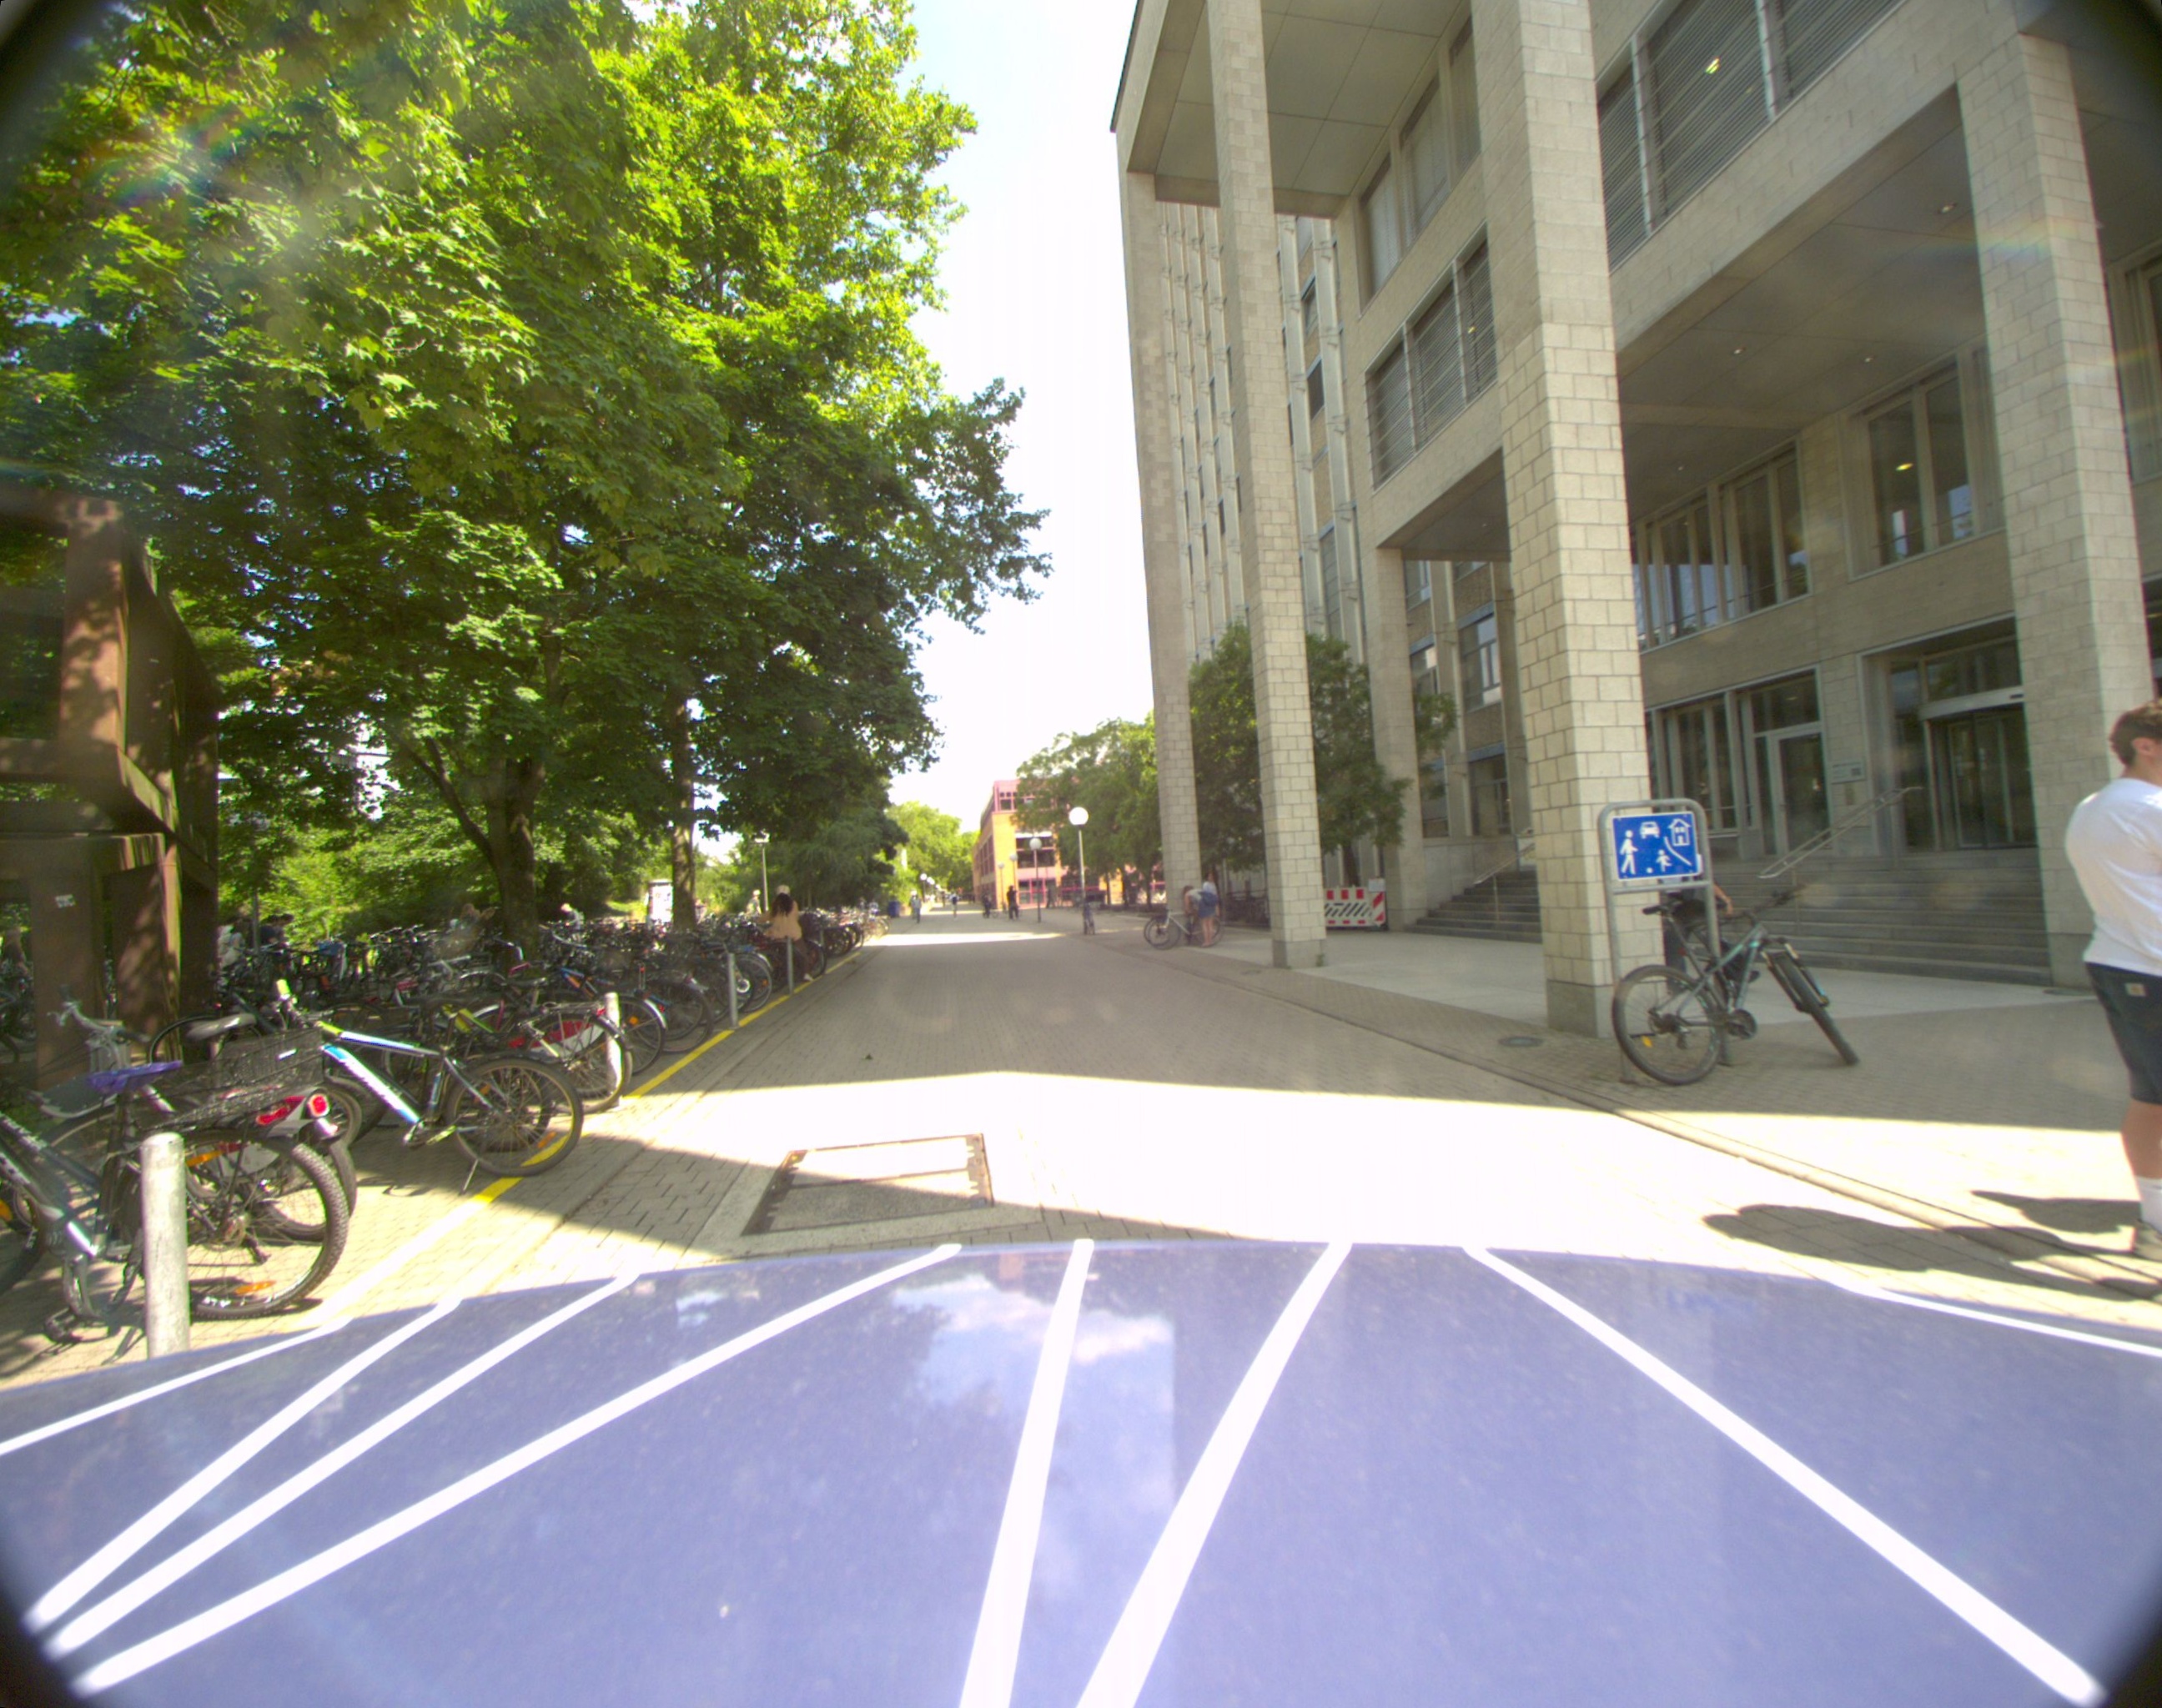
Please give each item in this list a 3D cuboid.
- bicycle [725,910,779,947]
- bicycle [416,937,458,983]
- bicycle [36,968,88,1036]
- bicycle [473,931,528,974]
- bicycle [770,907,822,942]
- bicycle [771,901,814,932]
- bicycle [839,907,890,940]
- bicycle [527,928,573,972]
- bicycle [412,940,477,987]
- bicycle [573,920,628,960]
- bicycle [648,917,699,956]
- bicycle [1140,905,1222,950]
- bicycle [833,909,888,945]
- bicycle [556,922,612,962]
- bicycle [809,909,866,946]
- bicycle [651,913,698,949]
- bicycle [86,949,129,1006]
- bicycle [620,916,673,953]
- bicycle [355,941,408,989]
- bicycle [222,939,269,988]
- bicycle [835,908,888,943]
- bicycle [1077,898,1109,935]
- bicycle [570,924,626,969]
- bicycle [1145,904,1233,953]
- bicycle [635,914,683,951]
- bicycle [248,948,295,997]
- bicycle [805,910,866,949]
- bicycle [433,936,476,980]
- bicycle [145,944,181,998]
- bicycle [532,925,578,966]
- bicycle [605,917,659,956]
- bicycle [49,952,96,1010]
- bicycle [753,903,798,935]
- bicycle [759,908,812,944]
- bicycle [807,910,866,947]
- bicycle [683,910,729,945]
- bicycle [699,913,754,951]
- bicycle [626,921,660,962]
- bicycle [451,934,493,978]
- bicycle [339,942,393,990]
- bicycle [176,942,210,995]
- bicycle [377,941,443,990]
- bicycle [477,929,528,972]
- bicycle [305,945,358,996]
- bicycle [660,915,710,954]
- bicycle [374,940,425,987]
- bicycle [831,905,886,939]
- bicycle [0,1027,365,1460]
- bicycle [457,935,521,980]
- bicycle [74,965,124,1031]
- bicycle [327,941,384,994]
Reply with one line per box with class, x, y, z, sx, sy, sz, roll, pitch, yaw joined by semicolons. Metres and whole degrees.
bicycle;-10.385;2.362;23.958;1.685;1.076;0.480;-5;-4;21
bicycle;-16.091;2.656;18.980;1.468;1.076;0.353;-5;-5;31
bicycle;-17.568;2.516;13.103;1.899;0.973;0.479;-4;0;37
bicycle;-15.379;2.613;20.120;1.469;1.076;0.353;-4;-4;16
bicycle;-9.346;2.309;24.908;1.685;1.076;0.480;-5;-4;21
bicycle;-10.697;2.315;28.158;1.684;1.076;0.480;-5;-4;26
bicycle;-7.700;2.463;27.046;1.689;1.076;0.529;-2;-4;-15
bicycle;-13.187;2.351;18.855;1.899;0.973;0.479;-4;-1;42
bicycle;-14.497;2.473;17.282;1.899;0.973;0.479;-4;0;30
bicycle;-14.132;2.526;22.335;1.685;1.076;0.480;-5;-4;22
bicycle;-11.768;2.384;21.945;1.469;1.076;0.353;-4;-4;18
bicycle;2.244;1.648;17.069;1.774;0.894;0.449;-3;-2;8
bicycle;-7.259;2.405;25.103;1.689;1.076;0.529;-2;-4;-15
bicycle;-14.317;2.539;21.885;1.685;1.076;0.480;-5;-4;22
bicycle;-7.802;2.336;24.366;1.689;1.076;0.529;-2;-4;-15
bicycle;-13.034;2.459;24.331;1.684;1.076;0.480;-5;-5;29
bicycle;-19.119;2.407;14.935;1.592;0.973;0.405;-4;0;41
bicycle;-13.404;2.483;23.436;1.685;1.076;0.480;-5;-4;22
bicycle;-16.800;2.663;18.243;1.469;1.076;0.353;-5;-4;23
bicycle;-18.151;2.354;16.496;1.797;0.973;0.379;-4;0;34
bicycle;-7.392;2.417;25.620;1.689;1.076;0.529;-2;-4;-15
bicycle;0.367;1.940;23.872;0.570;1.096;1.833;-2;-3;-12
bicycle;-12.629;2.423;19.874;1.469;1.076;0.479;-5;-4;23
bicycle;2.305;1.589;16.232;1.776;0.894;0.337;-4;-2;-5
bicycle;-13.267;2.474;23.893;1.684;1.076;0.480;-5;-5;29
bicycle;-17.915;2.603;16.806;1.797;0.973;0.379;-4;0;34
bicycle;-7.383;2.268;22.875;1.689;1.076;0.478;-2;-4;-15
bicycle;-15.912;2.645;19.290;1.468;1.076;0.353;-5;-5;31
bicycle;-18.823;2.386;15.594;1.592;0.973;0.405;-4;0;41
bicycle;-14.756;2.572;21.291;1.684;1.076;0.480;-6;-5;34
bicycle;-13.588;2.496;22.985;1.685;1.076;0.480;-5;-4;22
bicycle;-19.393;2.421;14.629;1.592;0.973;0.405;-4;0;41
bicycle;-11.016;2.339;27.392;1.684;1.076;0.480;-5;-4;27
bicycle;-9.517;2.322;24.462;1.685;1.076;0.480;-5;-4;21
bicycle;-7.617;2.321;23.746;1.689;1.076;0.478;-2;-4;-15
bicycle;-12.308;2.423;24.917;1.684;1.076;0.480;-5;-5;29
bicycle;-10.841;2.390;23.241;1.685;1.076;0.480;-5;-4;21
bicycle;-12.123;2.426;21.033;0.455;1.076;1.468;1;-6;-44
bicycle;-15.723;2.633;19.605;1.468;1.076;0.353;-5;-5;31
bicycle;-16.805;2.635;17.853;1.469;1.076;0.353;-5;-4;23
bicycle;-18.558;2.375;15.891;1.592;0.973;0.405;-4;0;41
bicycle;-14.770;2.439;16.714;1.899;0.973;0.479;-4;0;30
bicycle;-15.702;2.619;20.621;1.469;1.076;0.353;-4;-4;19
bicycle;-17.084;2.653;17.308;1.469;1.076;0.353;-5;-4;24
bicycle;-11.644;2.374;22.324;1.469;1.076;0.353;-4;-4;18
bicycle;-16.656;2.684;18.571;1.469;1.076;0.353;-5;-4;23
bicycle;-7.696;2.341;26.293;1.687;1.076;0.529;-3;-4;0
bicycle;-3.459;1.251;2.507;1.490;1.134;0.561;-2;0;-13
bicycle;-14.014;2.436;17.973;1.899;0.973;0.479;-4;0;30
bicycle;-17.345;2.505;13.410;1.899;0.973;0.479;-4;0;37
bicycle;-15.156;2.348;15.848;1.899;0.973;0.479;-4;0;36
